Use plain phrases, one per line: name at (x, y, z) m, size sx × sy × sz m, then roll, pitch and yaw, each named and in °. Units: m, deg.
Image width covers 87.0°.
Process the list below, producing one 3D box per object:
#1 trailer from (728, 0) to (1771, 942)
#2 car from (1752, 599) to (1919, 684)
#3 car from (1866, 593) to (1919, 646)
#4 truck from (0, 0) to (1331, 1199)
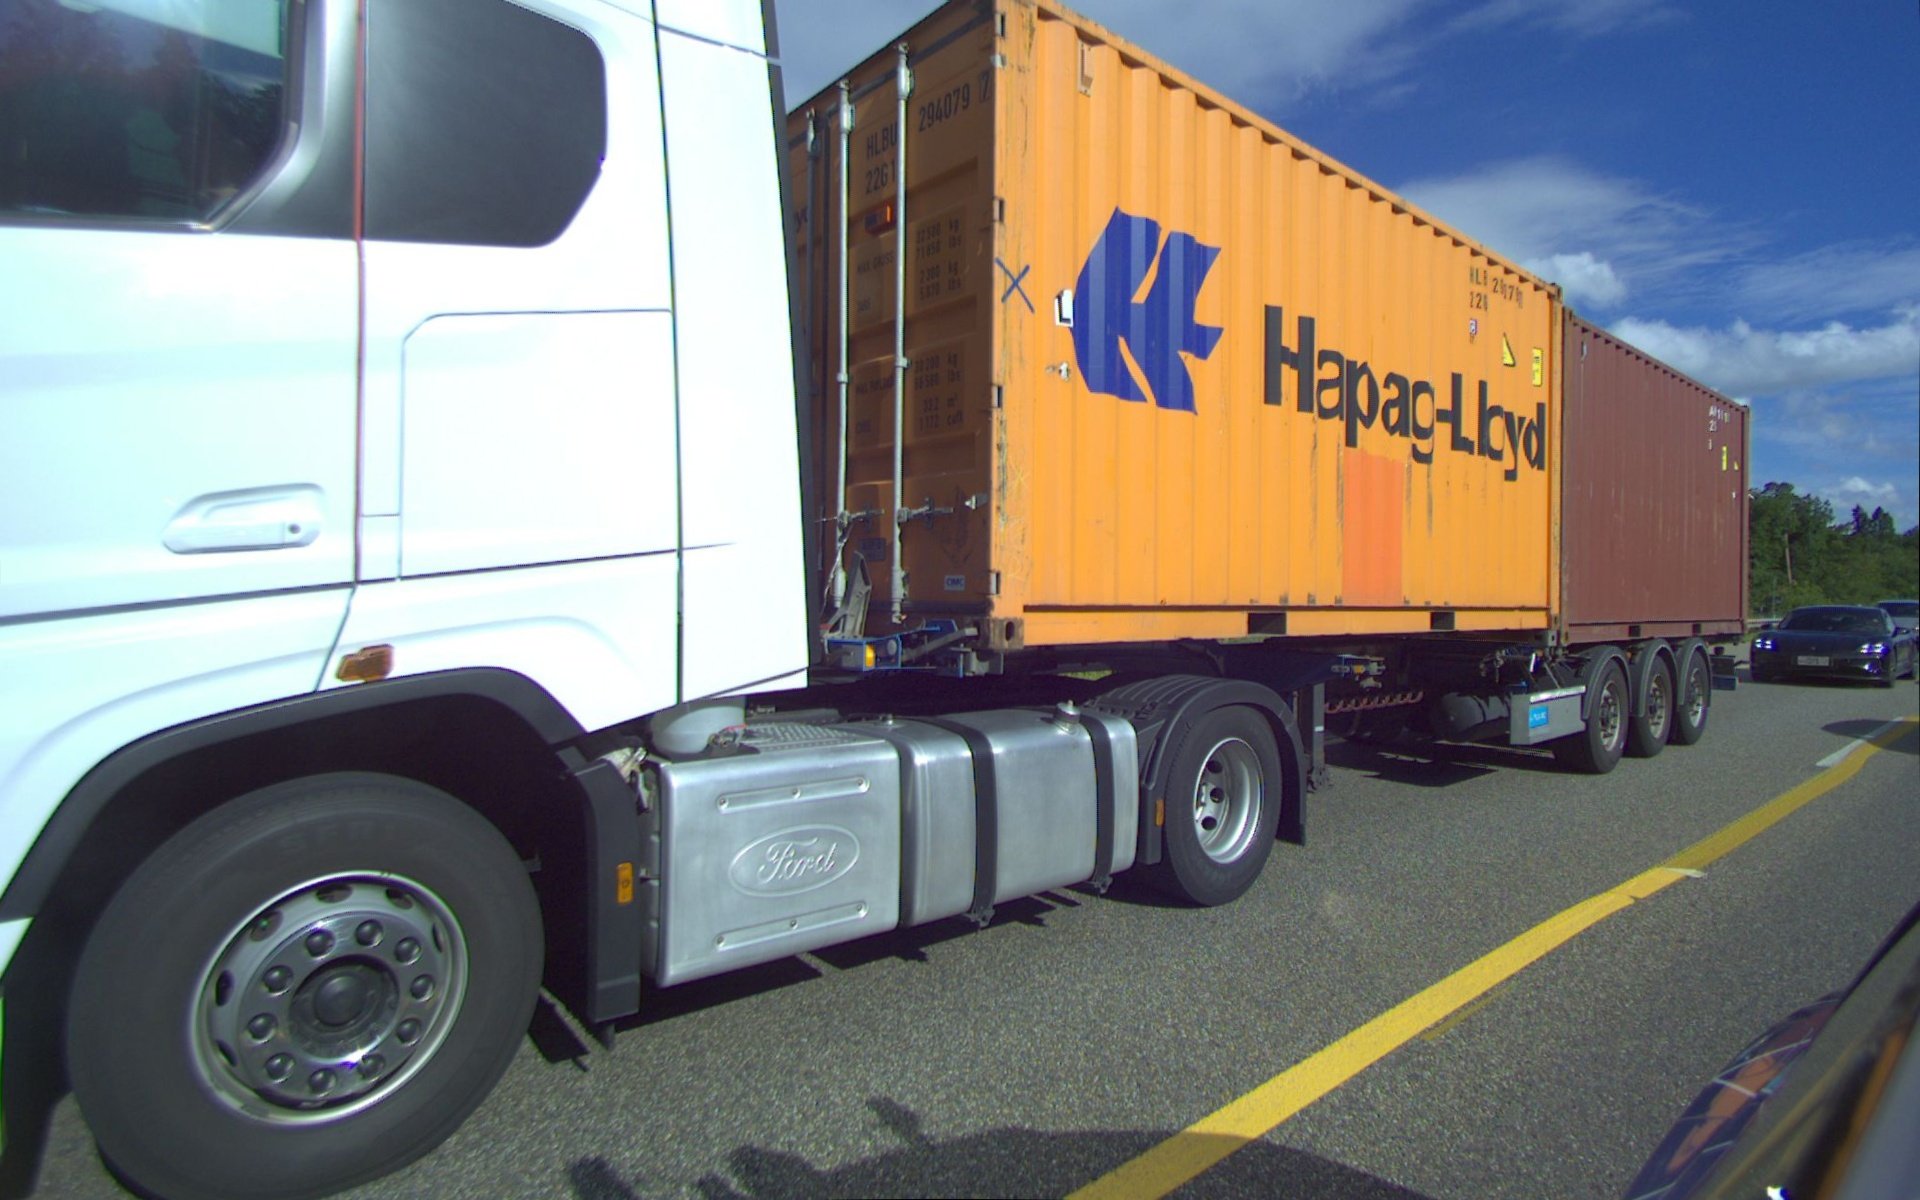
trailer at (3.991, -0.645, 8.680) m, size 11.922 × 3.822 × 2.476 m, roll 0°, pitch 0°, yaw -41°
car at (16.372, 0.666, 18.680) m, size 4.399 × 1.367 × 1.932 m, roll 0°, pitch 0°, yaw -41°
car at (29.140, 0.555, 30.851) m, size 3.898 × 1.498 × 1.761 m, roll -1°, pitch 1°, yaw -40°
truck at (-1.031, -0.620, 4.297) m, size 5.689 × 3.828 × 2.499 m, roll 0°, pitch 0°, yaw -41°
